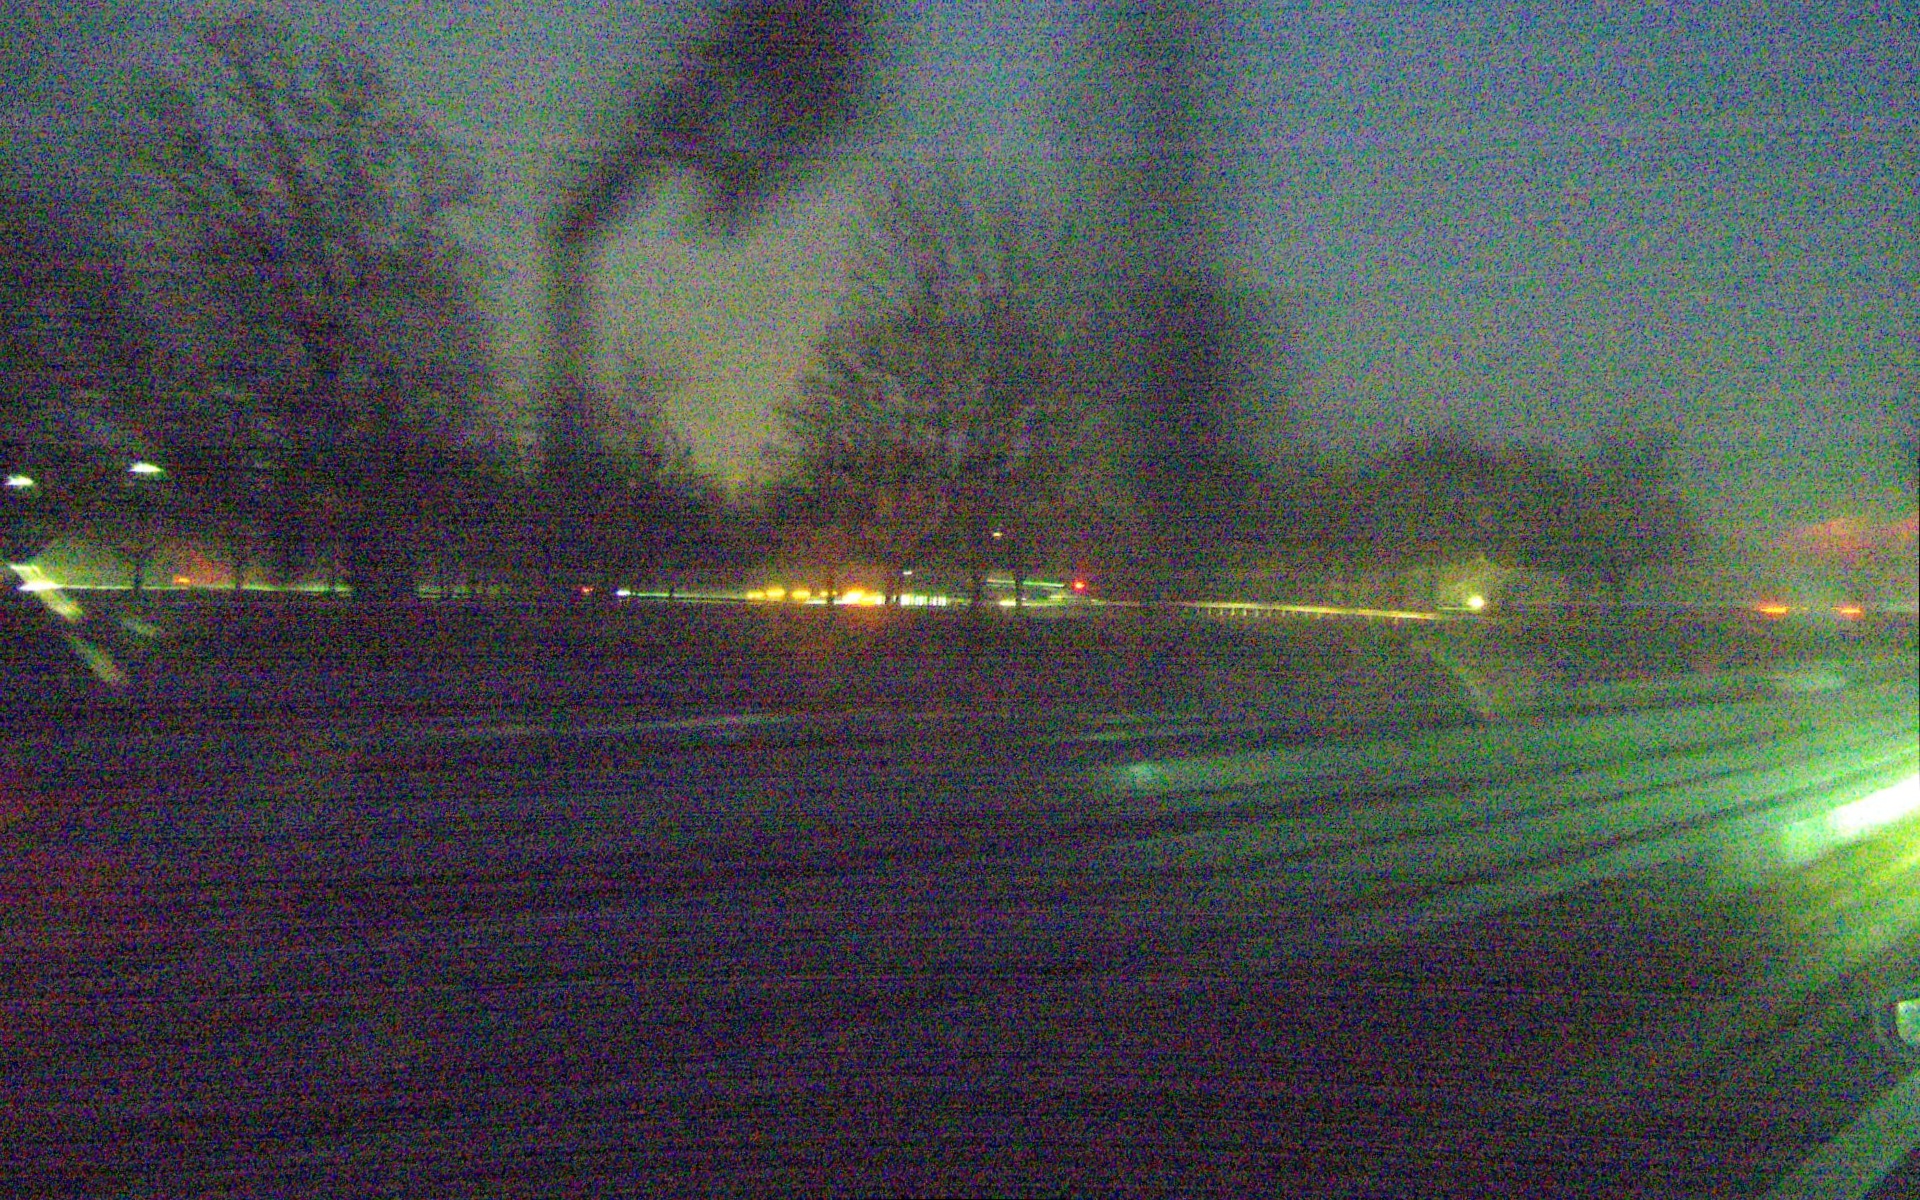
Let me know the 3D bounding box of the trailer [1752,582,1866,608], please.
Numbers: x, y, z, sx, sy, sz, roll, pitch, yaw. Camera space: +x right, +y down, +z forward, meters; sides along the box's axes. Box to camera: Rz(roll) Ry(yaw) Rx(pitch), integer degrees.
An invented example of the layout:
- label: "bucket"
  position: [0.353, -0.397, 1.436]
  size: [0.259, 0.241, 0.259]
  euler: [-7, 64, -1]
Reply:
- label: "trailer"
  position: [104.816, -0.588, 124.036]
  size: [12.616, 2.736, 2.693]
  euler: [2, 2, -6]

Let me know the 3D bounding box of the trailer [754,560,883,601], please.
- label: "trailer"
  position: [-15.139, -2.124, 107.655]
  size: [13.401, 3.775, 2.596]
  euler: [2, 2, -8]

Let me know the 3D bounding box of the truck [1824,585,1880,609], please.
- label: "truck"
  position: [110.722, -0.409, 124.694]
  size: [4.668, 2.727, 2.682]
  euler: [2, 2, -6]

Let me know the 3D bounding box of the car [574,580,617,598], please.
- label: "car"
  position: [-37.025, -1.087, 102.039]
  size: [3.934, 1.640, 1.993]
  euler: [1, 2, -16]

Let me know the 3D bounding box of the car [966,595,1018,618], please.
- label: "car"
  position: [2.675, 0.513, 84.285]
  size: [3.925, 1.662, 1.757]
  euler: [3, 2, 26]

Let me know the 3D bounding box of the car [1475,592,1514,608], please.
- label: "car"
  position: [73.993, -0.012, 138.964]
  size: [4.390, 2.041, 1.996]
  euler: [1, 2, -10]

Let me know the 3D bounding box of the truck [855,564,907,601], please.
- label: "truck"
  position: [-8.568, -1.858, 108.570]
  size: [5.358, 3.762, 2.592]
  euler: [2, 3, -8]
